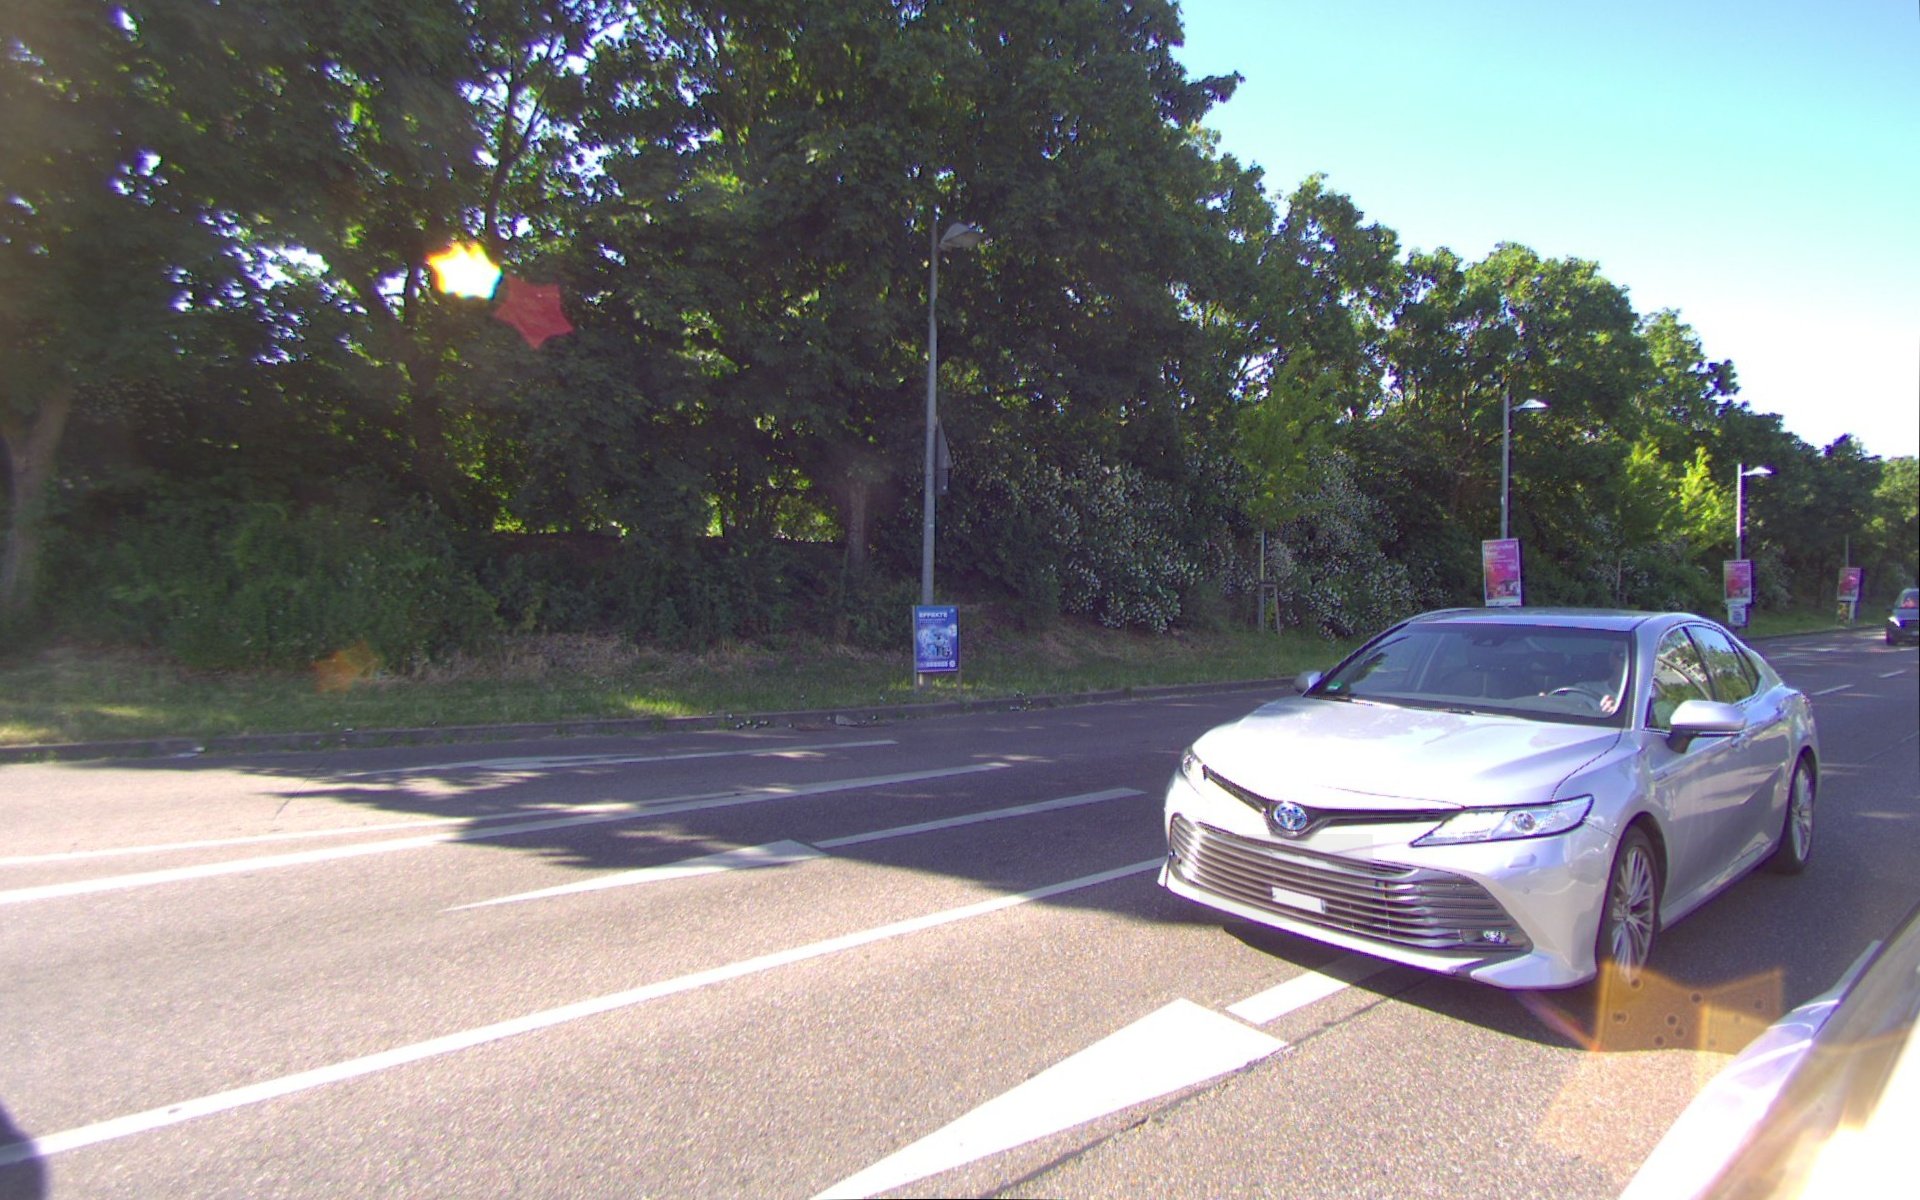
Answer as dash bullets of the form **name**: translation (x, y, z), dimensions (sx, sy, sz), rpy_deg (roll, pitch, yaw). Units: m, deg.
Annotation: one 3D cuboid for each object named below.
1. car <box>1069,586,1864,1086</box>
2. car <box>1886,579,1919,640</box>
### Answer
- **car**: translation (2.952, 0.695, 5.357), dimensions (4.664, 1.477, 2.069), rpy_deg (0, 2, -40)
- **car**: translation (32.401, 0.314, 33.458), dimensions (5.056, 1.917, 1.998), rpy_deg (0, 1, -40)
